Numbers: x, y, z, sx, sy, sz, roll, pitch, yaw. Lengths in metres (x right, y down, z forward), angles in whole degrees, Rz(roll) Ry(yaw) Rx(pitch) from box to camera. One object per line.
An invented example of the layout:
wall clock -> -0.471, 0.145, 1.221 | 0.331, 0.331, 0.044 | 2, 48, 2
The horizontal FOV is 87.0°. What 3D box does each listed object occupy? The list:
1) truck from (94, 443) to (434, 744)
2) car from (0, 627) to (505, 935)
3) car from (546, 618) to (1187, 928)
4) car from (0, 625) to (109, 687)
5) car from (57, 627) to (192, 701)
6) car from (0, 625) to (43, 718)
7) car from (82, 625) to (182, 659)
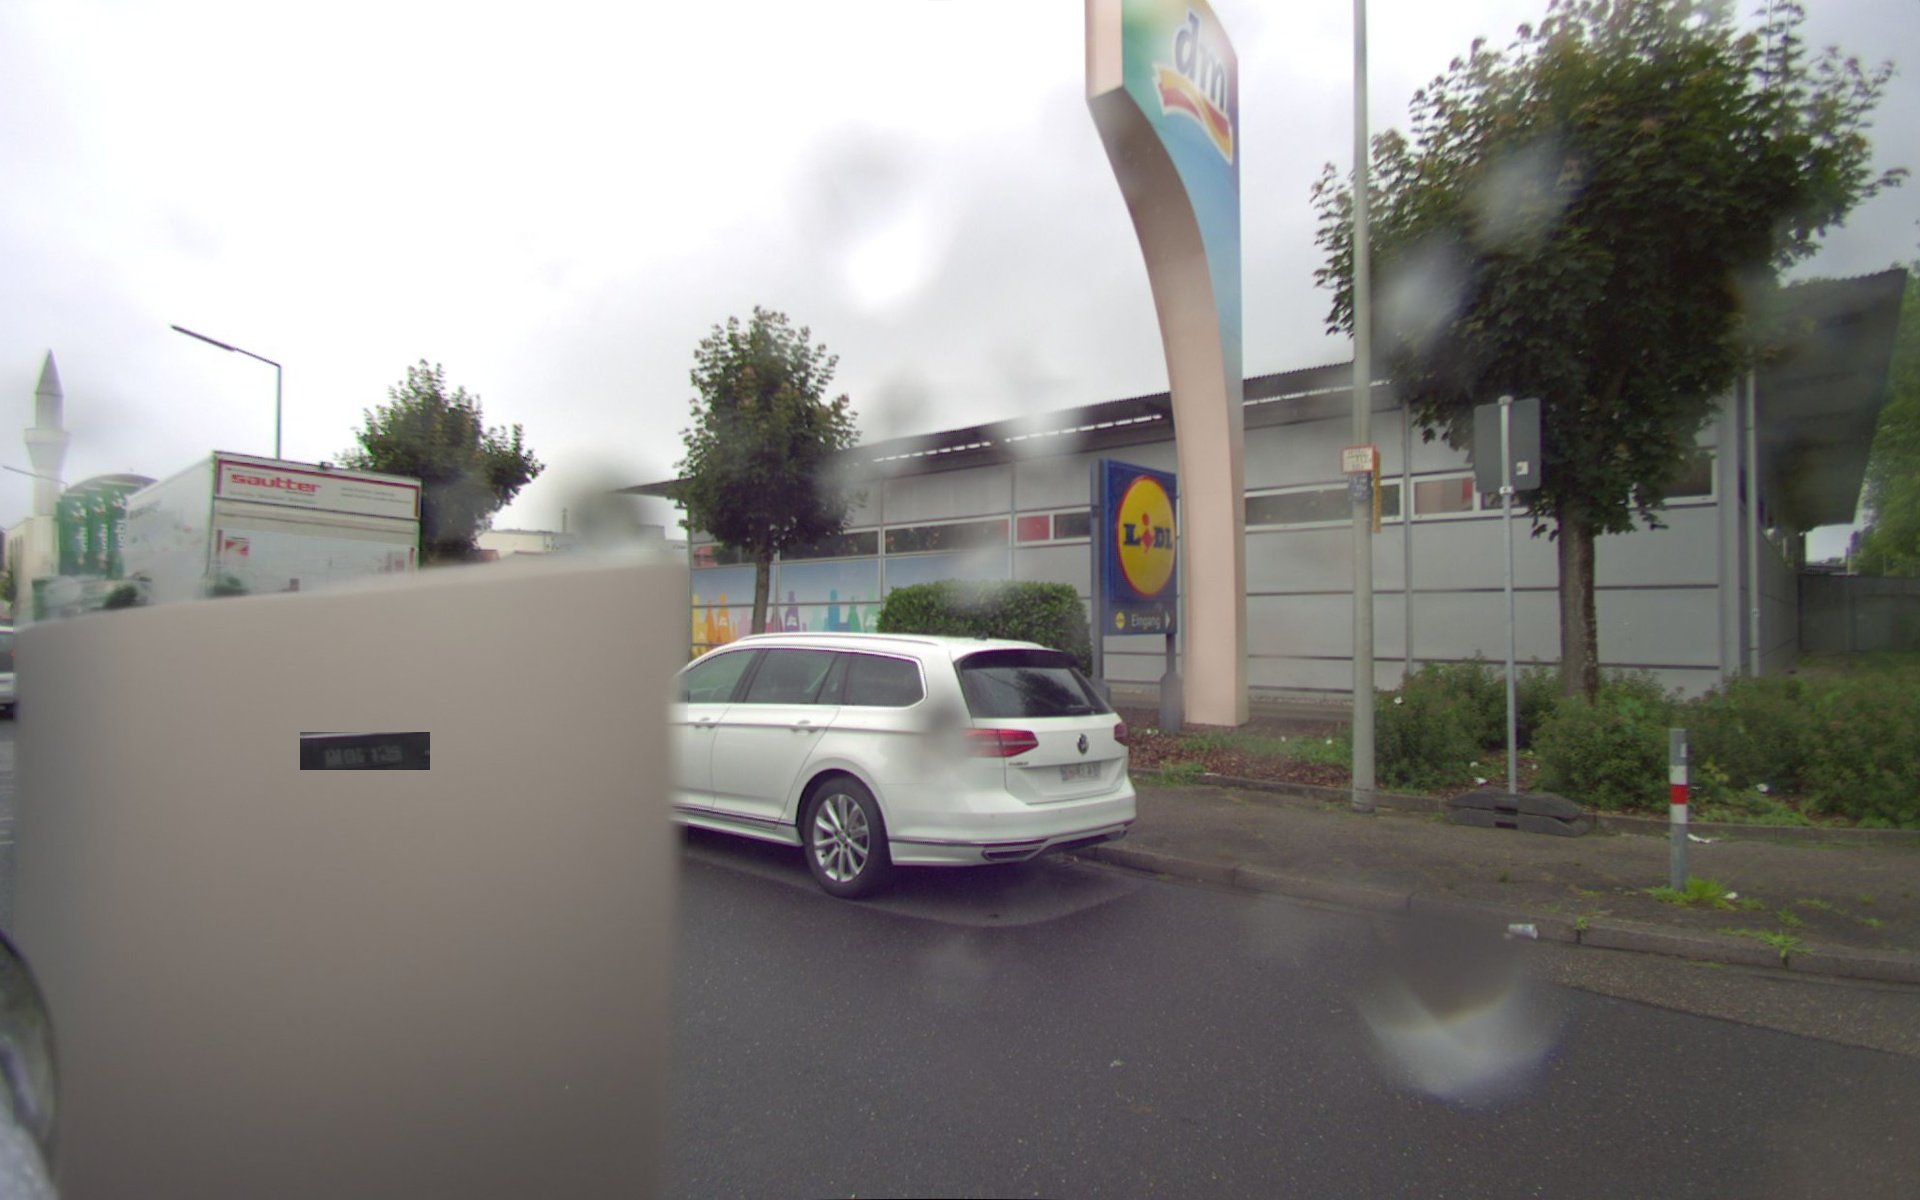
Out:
truck -> -11.560, 0.012, 16.425 | 7.866, 3.775, 2.850 | -2, -2, 43
car -> -4.876, 0.929, 6.708 | 3.994, 1.452, 1.714 | -2, -3, 38
car -> -0.895, 0.887, 6.935 | 4.490, 1.445, 1.816 | -2, -3, 42
car -> -23.389, 1.385, 26.073 | 3.510, 1.477, 1.670 | -1, -2, 40
car -> -18.251, 1.333, 22.065 | 3.510, 1.477, 1.670 | -1, -2, 40
car -> -16.472, 1.133, 16.587 | 3.404, 1.449, 1.595 | -1, -3, 39
car -> -40.965, 2.060, 50.116 | 1.690, 1.610, 3.565 | -1, -2, 38
